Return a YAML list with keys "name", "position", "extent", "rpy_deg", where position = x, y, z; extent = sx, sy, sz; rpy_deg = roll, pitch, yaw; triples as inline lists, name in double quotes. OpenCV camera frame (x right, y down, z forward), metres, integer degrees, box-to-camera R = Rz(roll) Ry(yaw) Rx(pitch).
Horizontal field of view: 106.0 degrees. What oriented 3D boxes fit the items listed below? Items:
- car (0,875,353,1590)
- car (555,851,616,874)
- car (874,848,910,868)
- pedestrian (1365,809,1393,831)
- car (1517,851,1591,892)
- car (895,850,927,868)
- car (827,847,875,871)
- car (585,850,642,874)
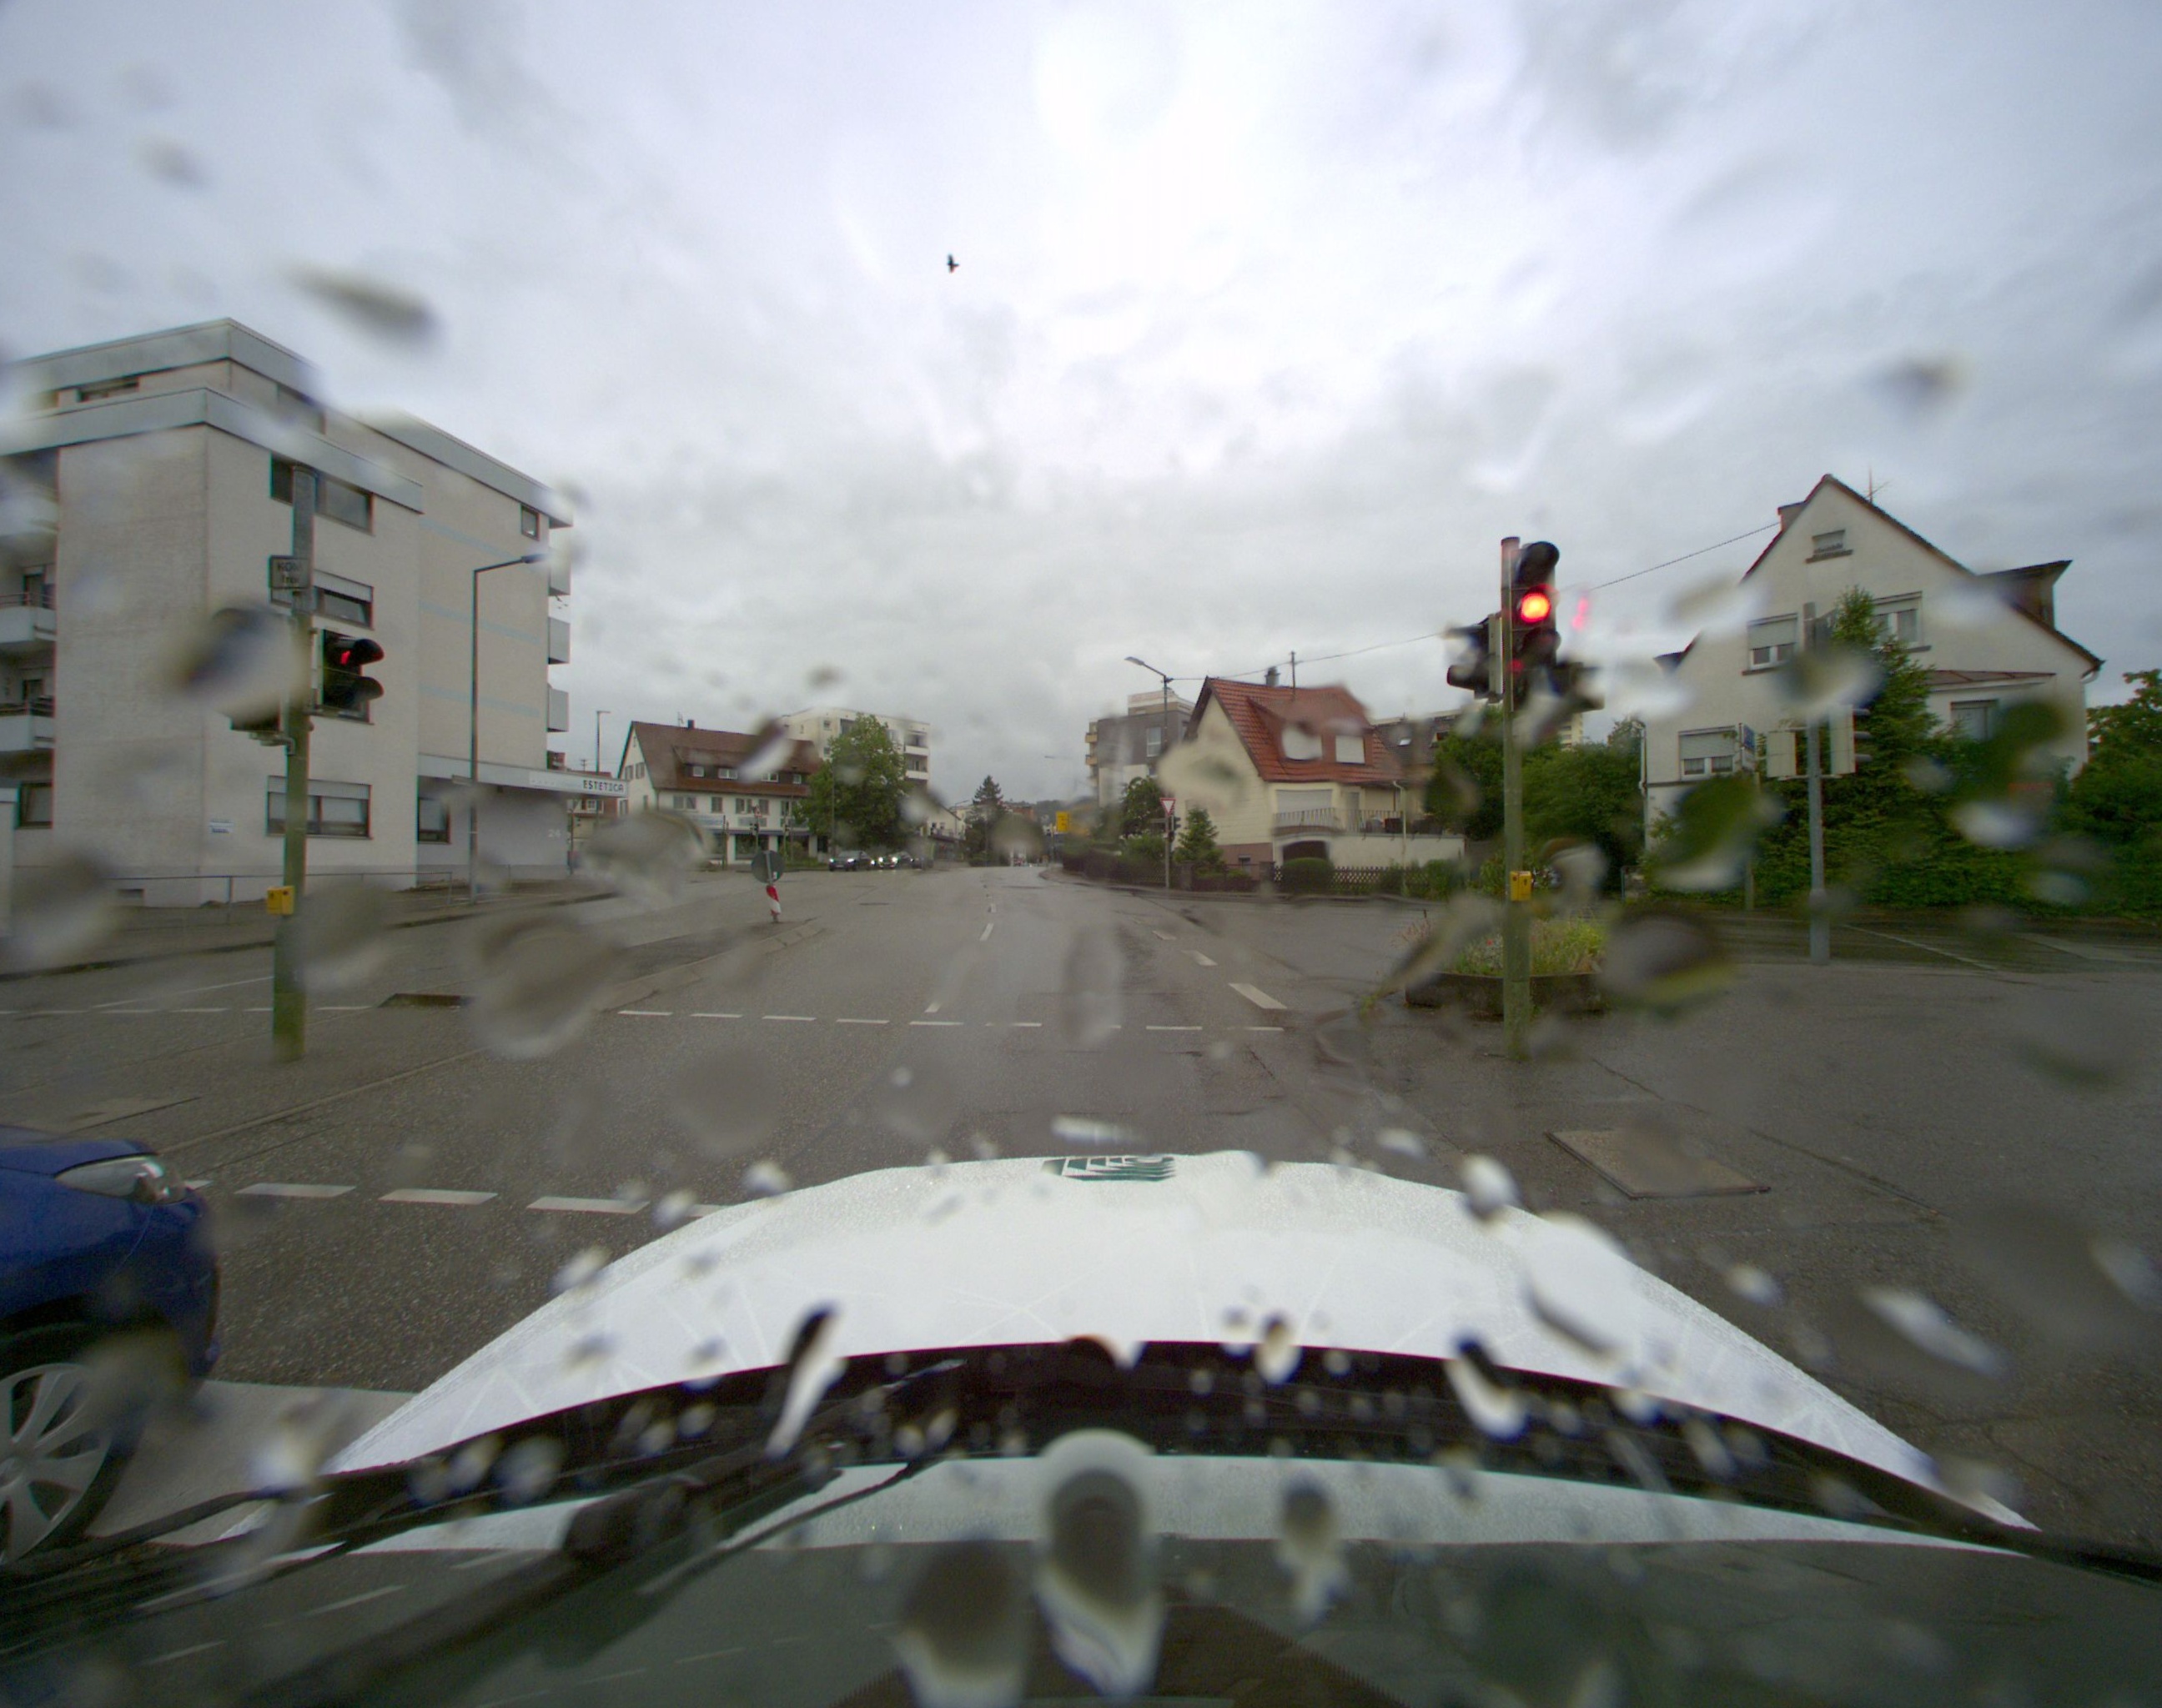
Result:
- name: "car"
  position: [-2.952, 0.781, 0.730]
  extent: [1.499, 1.413, 3.365]
  rpy_deg: [0, 0, 2]
- name: "car"
  position: [-41.221, 0.672, 67.804]
  extent: [4.093, 1.843, 1.864]
  rpy_deg: [0, -1, -44]
- name: "car"
  position: [-15.276, 0.341, 66.055]
  extent: [1.960, 1.512, 3.999]
  rpy_deg: [0, -1, 0]
- name: "pedestrian"
  position: [12.768, -1.431, 34.861]
  extent: [0.918, 0.883, 0.632]
  rpy_deg: [0, -3, -18]
- name: "car"
  position: [17.109, 0.600, 29.376]
  extent: [1.794, 1.362, 4.025]
  rpy_deg: [-1, -1, 37]
- name: "car"
  position: [-14.965, 0.441, 71.798]
  extent: [1.873, 1.597, 4.184]
  rpy_deg: [0, -1, 0]
- name: "car"
  position: [-15.908, 0.343, 56.476]
  extent: [1.987, 1.625, 4.538]
  rpy_deg: [0, -1, 0]
- name: "car"
  position: [-38.447, 0.633, 66.981]
  extent: [3.706, 1.920, 1.864]
  rpy_deg: [0, -1, -44]
